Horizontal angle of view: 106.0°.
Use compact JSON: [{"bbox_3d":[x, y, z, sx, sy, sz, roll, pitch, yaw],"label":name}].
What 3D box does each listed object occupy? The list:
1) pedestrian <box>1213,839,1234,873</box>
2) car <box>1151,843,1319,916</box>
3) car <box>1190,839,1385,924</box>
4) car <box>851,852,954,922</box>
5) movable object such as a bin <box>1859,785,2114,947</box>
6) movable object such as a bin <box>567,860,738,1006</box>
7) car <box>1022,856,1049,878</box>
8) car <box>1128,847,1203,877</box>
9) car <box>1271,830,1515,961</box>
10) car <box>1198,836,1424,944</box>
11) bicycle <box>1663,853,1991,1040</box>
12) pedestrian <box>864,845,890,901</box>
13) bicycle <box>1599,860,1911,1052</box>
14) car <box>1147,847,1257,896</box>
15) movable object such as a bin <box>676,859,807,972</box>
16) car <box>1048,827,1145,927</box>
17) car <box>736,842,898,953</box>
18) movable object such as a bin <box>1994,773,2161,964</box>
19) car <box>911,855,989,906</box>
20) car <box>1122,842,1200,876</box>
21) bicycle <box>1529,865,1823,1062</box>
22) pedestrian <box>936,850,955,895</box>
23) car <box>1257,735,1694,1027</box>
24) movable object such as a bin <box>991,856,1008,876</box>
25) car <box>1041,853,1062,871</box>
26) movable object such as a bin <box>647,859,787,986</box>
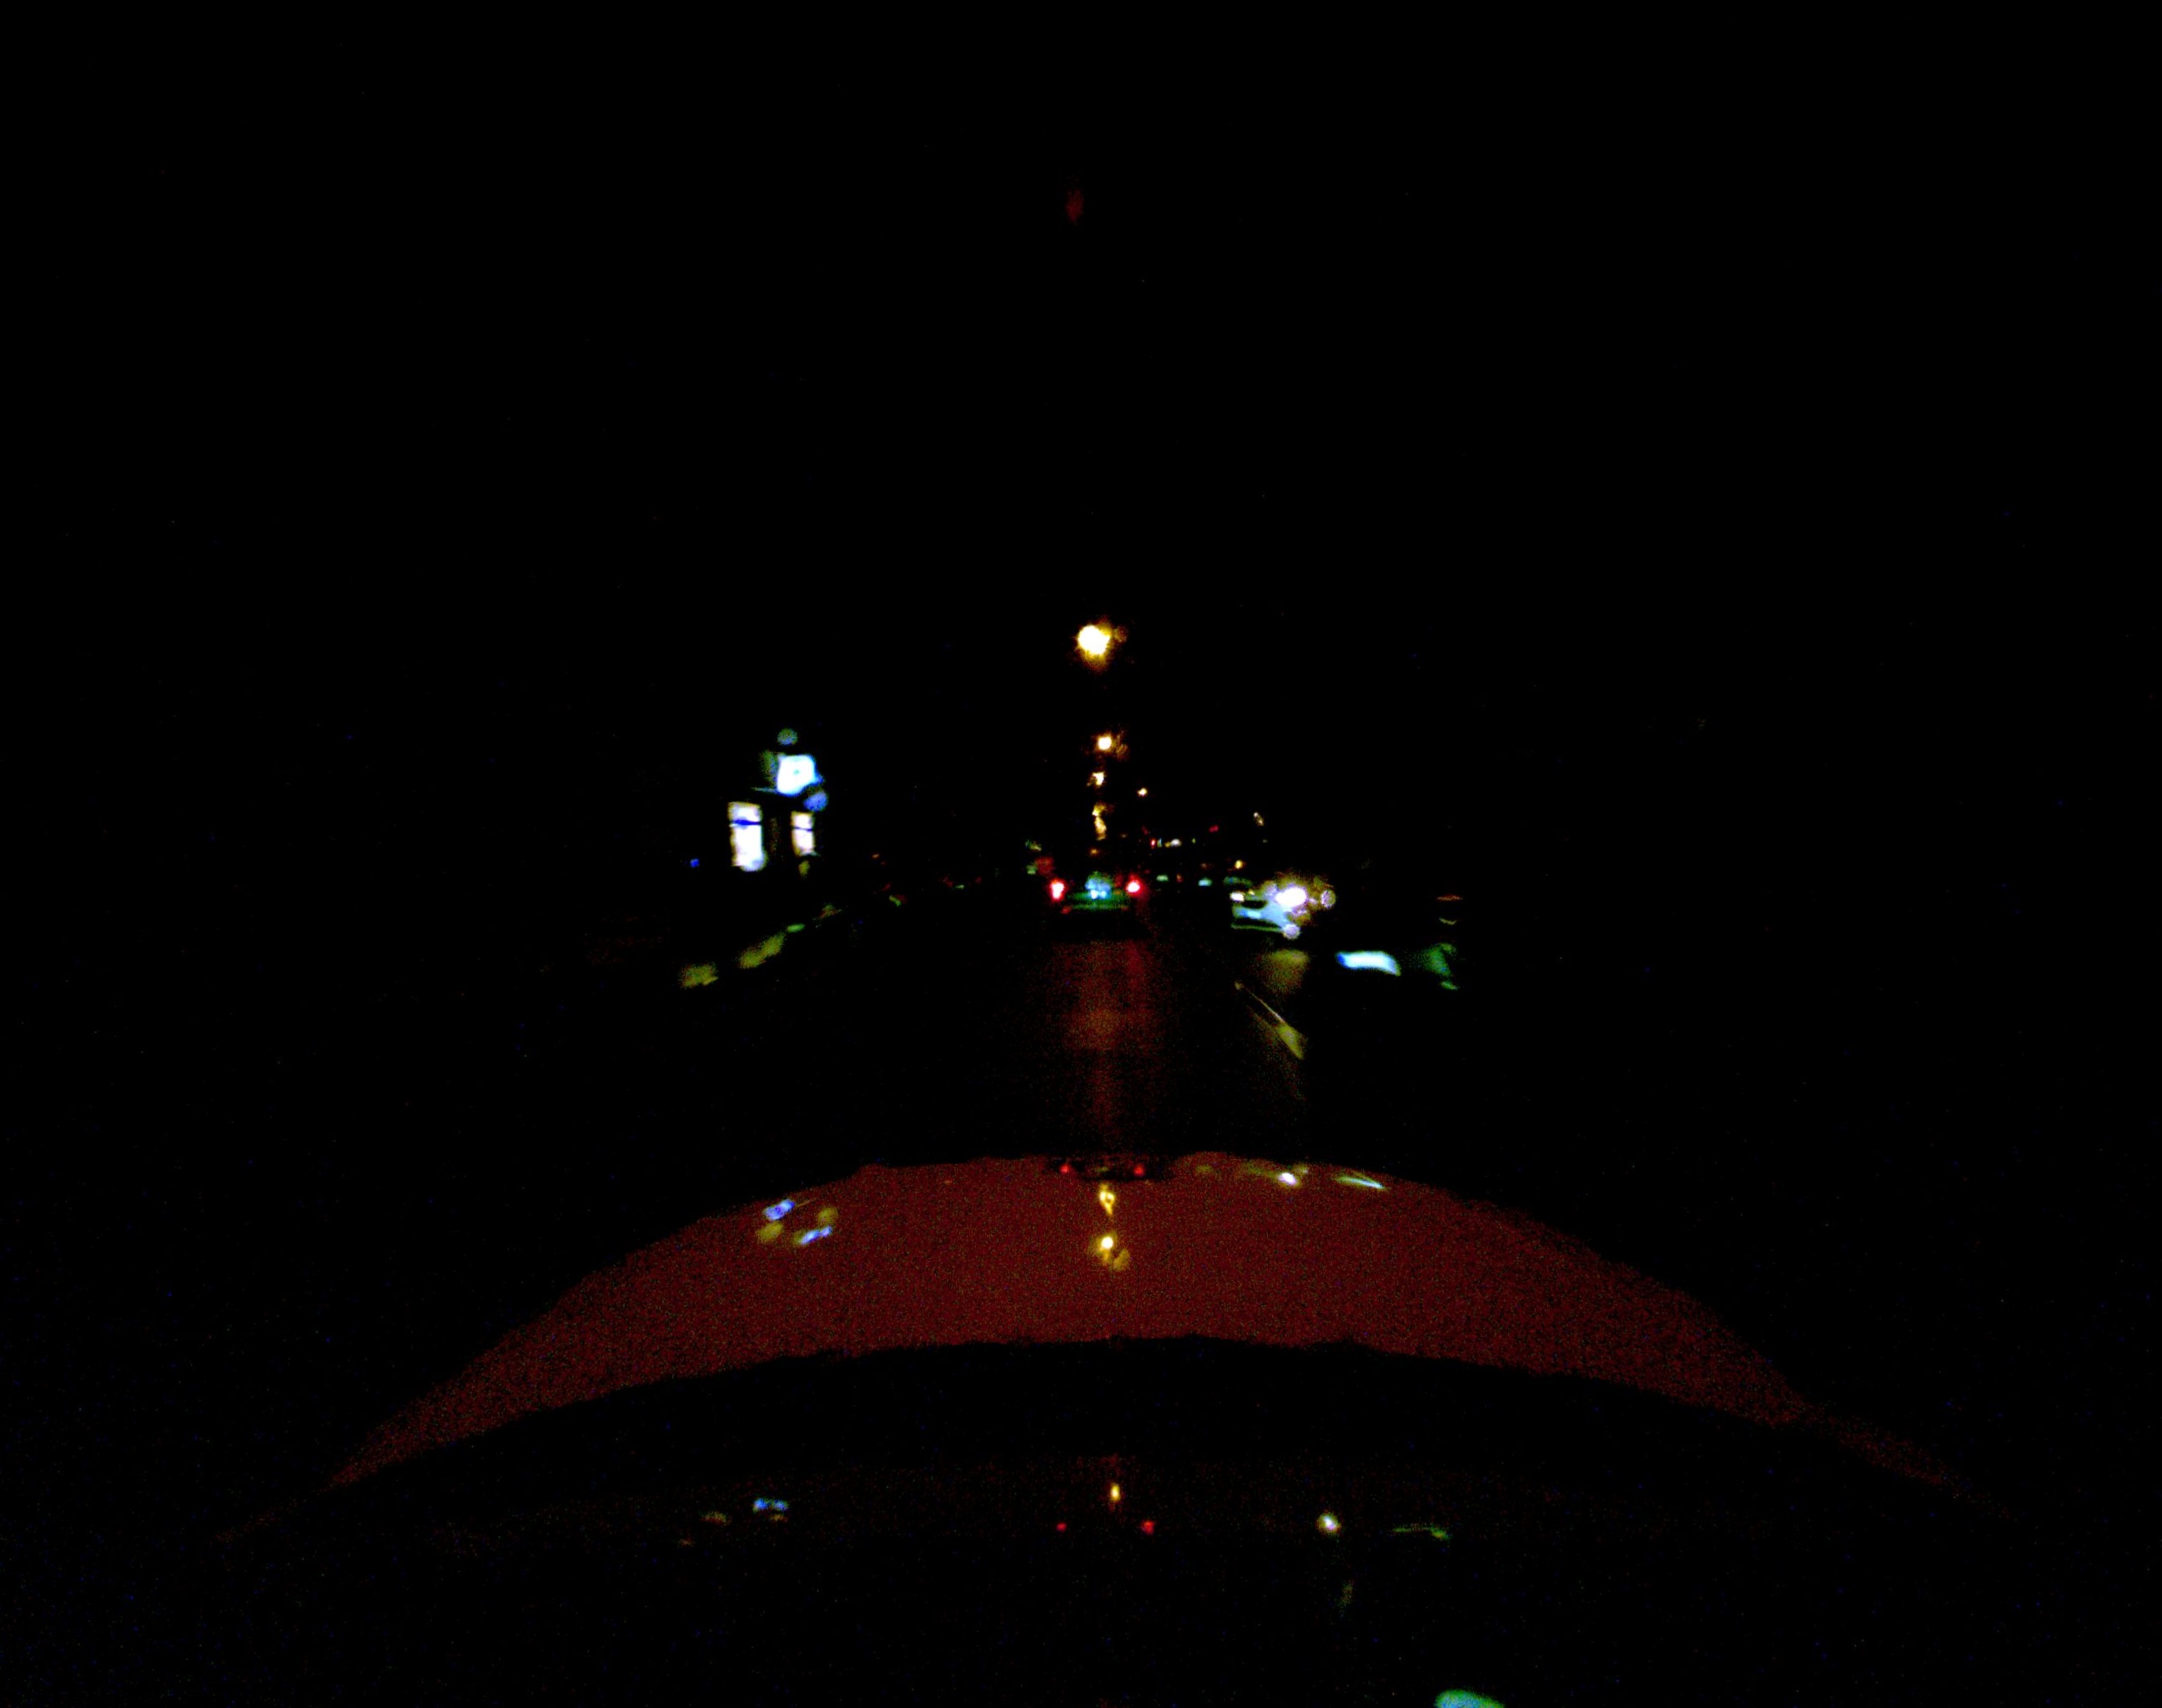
[{"bbox_3d":[8.050,0.096,45.943,0.866,1.856,0.992,-4,0,-1],"label":"pedestrian"},{"bbox_3d":[3.938,0.600,20.609,4.016,1.552,1.785,-3,-1,-34],"label":"car"},{"bbox_3d":[4.558,0.537,17.761,4.018,1.552,1.978,-3,-1,-37],"label":"car"},{"bbox_3d":[-4.329,0.735,20.374,1.598,1.552,4.026,-1,0,1],"label":"car"},{"bbox_3d":[8.824,0.112,8.008,1.251,1.372,0.999,-6,0,1],"label":"movable object such as a bin"},{"bbox_3d":[-4.538,0.795,8.733,1.203,1.459,1.108,0,0,3],"label":"movable object such as a bin"},{"bbox_3d":[-3.271,0.930,59.017,1.581,1.482,3.795,-1,0,3],"label":"car"},{"bbox_3d":[4.979,0.475,47.974,4.006,1.492,1.720,-4,0,-24],"label":"car"},{"bbox_3d":[4.507,0.508,11.641,3.415,1.542,1.560,-3,-1,-35],"label":"car"},{"bbox_3d":[3.991,0.560,14.026,3.663,1.542,1.545,-3,-1,-29],"label":"car"},{"bbox_3d":[5.450,0.591,6.140,0.584,1.172,1.859,-1,0,-8],"label":"bicycle"},{"bbox_3d":[-6.669,0.624,26.656,0.637,1.781,0.549,-2,0,1],"label":"pedestrian"},{"bbox_3d":[4.827,0.641,6.035,0.584,1.172,1.859,-1,0,-8],"label":"bicycle"},{"bbox_3d":[4.154,0.575,27.689,3.703,1.460,1.585,-3,0,-40],"label":"car"},{"bbox_3d":[-4.616,0.801,11.174,1.257,1.459,1.152,0,0,3],"label":"movable object such as a bin"},{"bbox_3d":[0.370,0.502,19.055,1.986,2.050,4.001,-1,-1,1],"label":"car"},{"bbox_3d":[-4.556,0.687,14.618,1.598,1.706,3.722,-1,0,1],"label":"car"},{"bbox_3d":[8.923,0.076,6.854,1.205,1.451,0.999,-6,0,1],"label":"movable object such as a bin"},{"bbox_3d":[-4.060,0.770,25.888,1.680,1.455,4.316,-1,0,1],"label":"car"},{"bbox_3d":[5.280,0.315,53.714,4.814,2.049,2.047,-2,0,-30],"label":"car"},{"bbox_3d":[4.192,0.681,5.950,0.584,1.172,1.859,-1,0,-8],"label":"bicycle"},{"bbox_3d":[-5.560,0.742,33.402,0.589,1.820,0.795,1,0,1],"label":"pedestrian"},{"bbox_3d":[4.232,0.153,8.427,4.746,2.248,1.925,-3,-1,-35],"label":"car"},{"bbox_3d":[-5.861,0.882,58.583,1.043,1.398,1.159,0,0,4],"label":"movable object such as a bin"},{"bbox_3d":[-2.707,0.734,74.618,1.808,1.557,4.073,-1,0,-2],"label":"car"},{"bbox_3d":[-4.394,0.791,9.941,1.160,1.459,1.108,0,0,3],"label":"movable object such as a bin"}]
